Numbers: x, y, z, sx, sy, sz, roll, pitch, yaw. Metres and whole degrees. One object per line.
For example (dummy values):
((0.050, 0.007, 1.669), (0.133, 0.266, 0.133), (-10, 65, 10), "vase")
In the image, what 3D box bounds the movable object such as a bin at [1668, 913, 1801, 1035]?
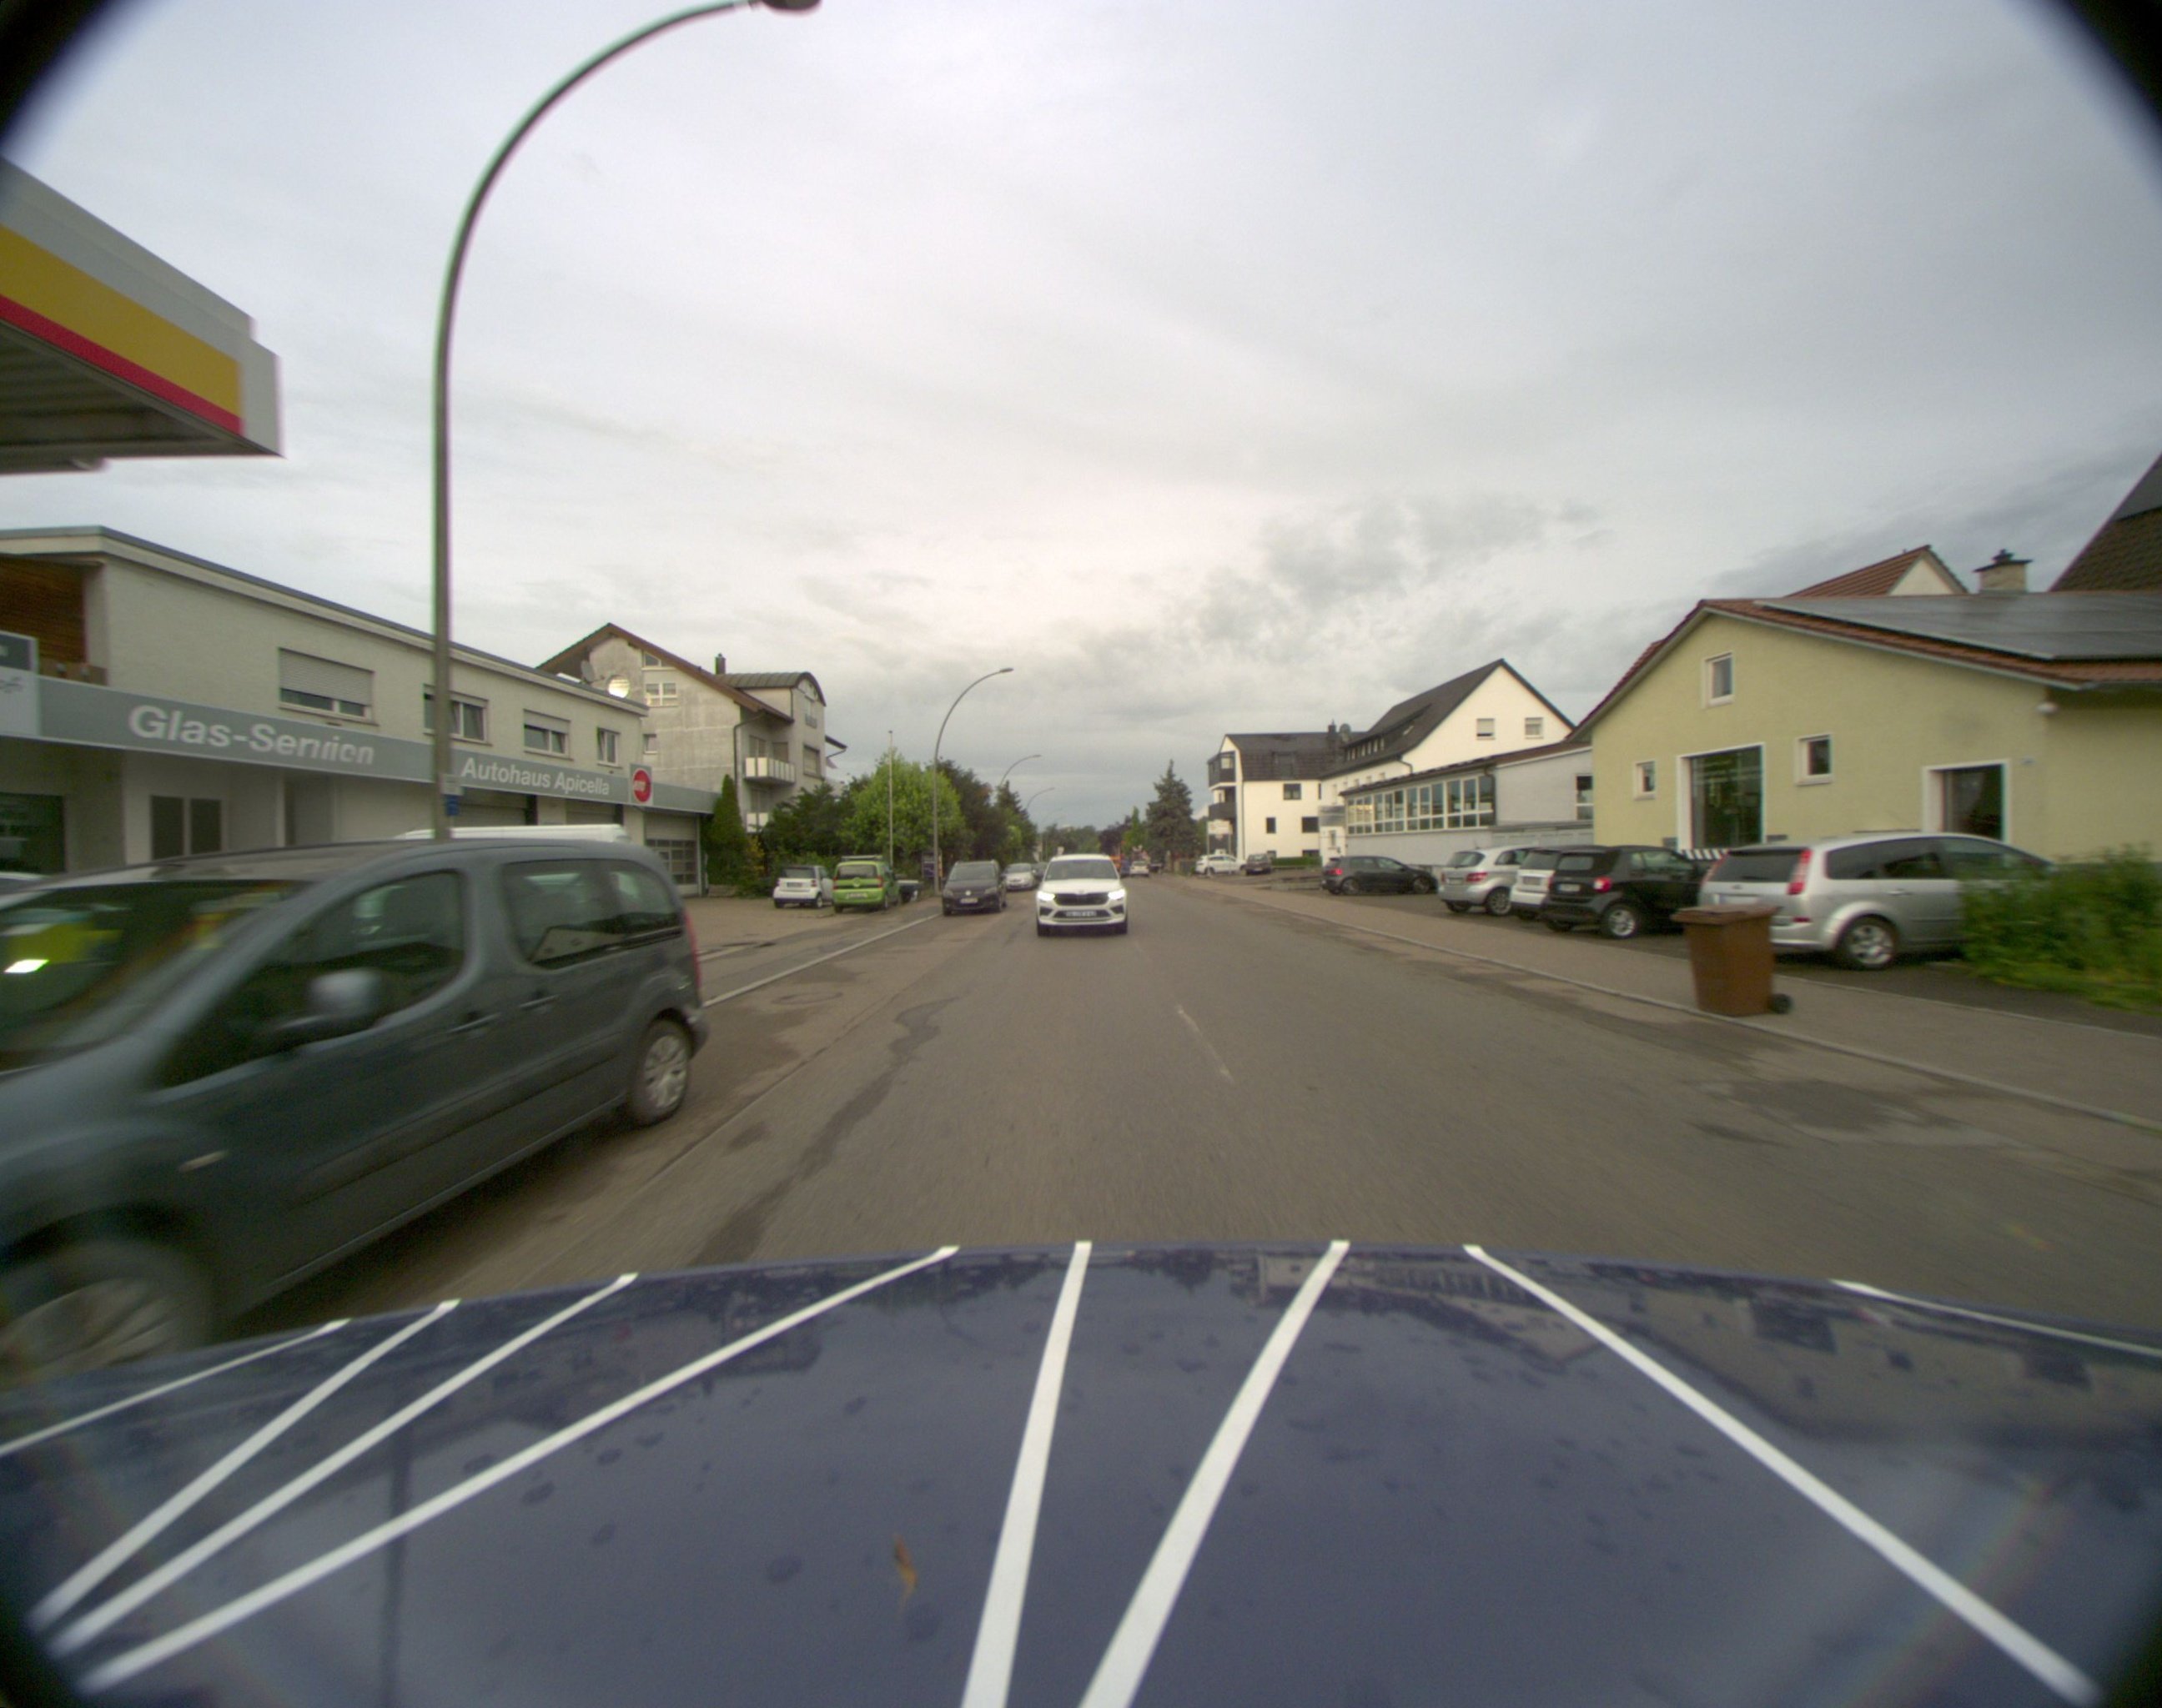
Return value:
((6.417, 1.153, 7.494), (0.597, 1.051, 0.687), (-6, -1, 0), "movable object such as a bin")

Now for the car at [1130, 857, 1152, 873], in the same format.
((5.640, 1.014, 71.416), (1.740, 1.496, 3.871), (-1, 0, 1), "car")

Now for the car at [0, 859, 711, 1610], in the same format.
((-3.417, 0.960, 2.961), (1.660, 1.728, 4.444), (-4, 0, 0), "car")

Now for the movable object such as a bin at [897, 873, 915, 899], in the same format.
((-7.295, 1.333, 31.668), (0.576, 1.069, 0.682), (-1, 1, -1), "movable object such as a bin")

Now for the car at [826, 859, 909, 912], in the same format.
((-7.349, 1.034, 26.545), (1.999, 1.673, 3.999), (-1, 0, -4), "car")

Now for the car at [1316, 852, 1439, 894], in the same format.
((10.966, 0.690, 28.272), (3.884, 1.430, 1.768), (-1, 0, -1), "car")

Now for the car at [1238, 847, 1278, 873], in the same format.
((12.260, 0.392, 52.868), (1.824, 1.521, 4.000), (-7, 0, 2), "car")

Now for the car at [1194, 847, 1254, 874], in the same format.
((10.840, 0.489, 57.706), (3.997, 1.637, 2.000), (-5, 0, -2), "car")

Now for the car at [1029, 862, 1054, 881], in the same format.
((-3.074, 1.341, 59.679), (1.756, 1.410, 4.110), (-1, 0, 0), "car")

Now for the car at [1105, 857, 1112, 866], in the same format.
((6.997, 1.840, 194.252), (1.659, 2.220, 3.744), (-2, 0, 0), "car")

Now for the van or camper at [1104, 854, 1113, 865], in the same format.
((5.709, 1.138, 159.209), (1.811, 2.328, 4.000), (-2, 0, 2), "van or camper")

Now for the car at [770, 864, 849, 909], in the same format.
((-10.019, 1.149, 28.305), (1.752, 1.510, 3.731), (2, 0, -4), "car")

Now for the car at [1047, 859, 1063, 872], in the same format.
((-3.021, 1.316, 89.642), (1.677, 1.455, 3.690), (-3, 0, 0), "car")

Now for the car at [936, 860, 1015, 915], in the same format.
((-3.267, 1.003, 24.337), (1.999, 1.586, 4.000), (-1, 0, -1), "car")

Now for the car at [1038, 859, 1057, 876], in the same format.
((-3.044, 1.196, 68.958), (1.657, 1.431, 4.043), (-1, 0, -2), "car")

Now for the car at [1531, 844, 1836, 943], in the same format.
((10.406, 0.642, 13.292), (4.096, 1.494, 1.755), (-1, 0, -5), "car")

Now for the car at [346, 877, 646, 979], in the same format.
((-10.289, 1.203, 13.651), (4.007, 1.367, 1.775), (-2, 1, -39), "car")

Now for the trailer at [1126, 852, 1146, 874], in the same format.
((5.621, 0.852, 77.771), (1.722, 2.114, 4.006), (-2, 0, 0), "trailer")

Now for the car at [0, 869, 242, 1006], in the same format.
((-14.387, 1.104, 10.003), (1.994, 1.631, 4.370), (-1, 0, 44), "car")

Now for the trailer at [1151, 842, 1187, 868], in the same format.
((10.743, 0.089, 93.289), (4.059, 3.029, 2.168), (-2, 1, 1), "trailer")

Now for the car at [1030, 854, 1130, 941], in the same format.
((-0.006, 0.848, 17.042), (1.884, 1.650, 4.831), (-1, 0, 0), "car")

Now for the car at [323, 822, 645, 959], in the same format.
((-12.126, 0.652, 15.951), (4.809, 2.506, 2.243), (-1, 0, -21), "car")

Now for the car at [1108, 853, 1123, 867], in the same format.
((5.849, 1.053, 127.502), (2.264, 2.275, 4.531), (1, 0, 0), "car")

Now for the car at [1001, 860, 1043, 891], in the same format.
((-3.121, 1.134, 40.969), (1.742, 1.493, 3.882), (-3, 0, 2), "car")

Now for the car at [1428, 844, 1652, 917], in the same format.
((10.634, 0.568, 17.790), (4.096, 1.524, 1.999), (-1, 1, -5), "car")

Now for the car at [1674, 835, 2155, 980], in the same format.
((10.143, 0.595, 9.481), (4.095, 1.505, 1.883), (-1, 0, -4), "car")

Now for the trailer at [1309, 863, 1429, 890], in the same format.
((11.701, 0.904, 31.044), (4.208, 0.937, 1.794), (-1, 0, -2), "trailer")

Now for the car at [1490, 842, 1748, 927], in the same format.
((10.966, 0.592, 15.673), (4.095, 1.524, 1.813), (-1, 0, -4), "car")

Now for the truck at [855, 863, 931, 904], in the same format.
((-7.461, 1.154, 30.263), (2.560, 1.521, 1.327), (-1, 0, 8), "truck")

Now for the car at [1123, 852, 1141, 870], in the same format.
((6.393, 0.882, 96.040), (1.998, 2.112, 4.755), (-1, 0, 1), "car")
